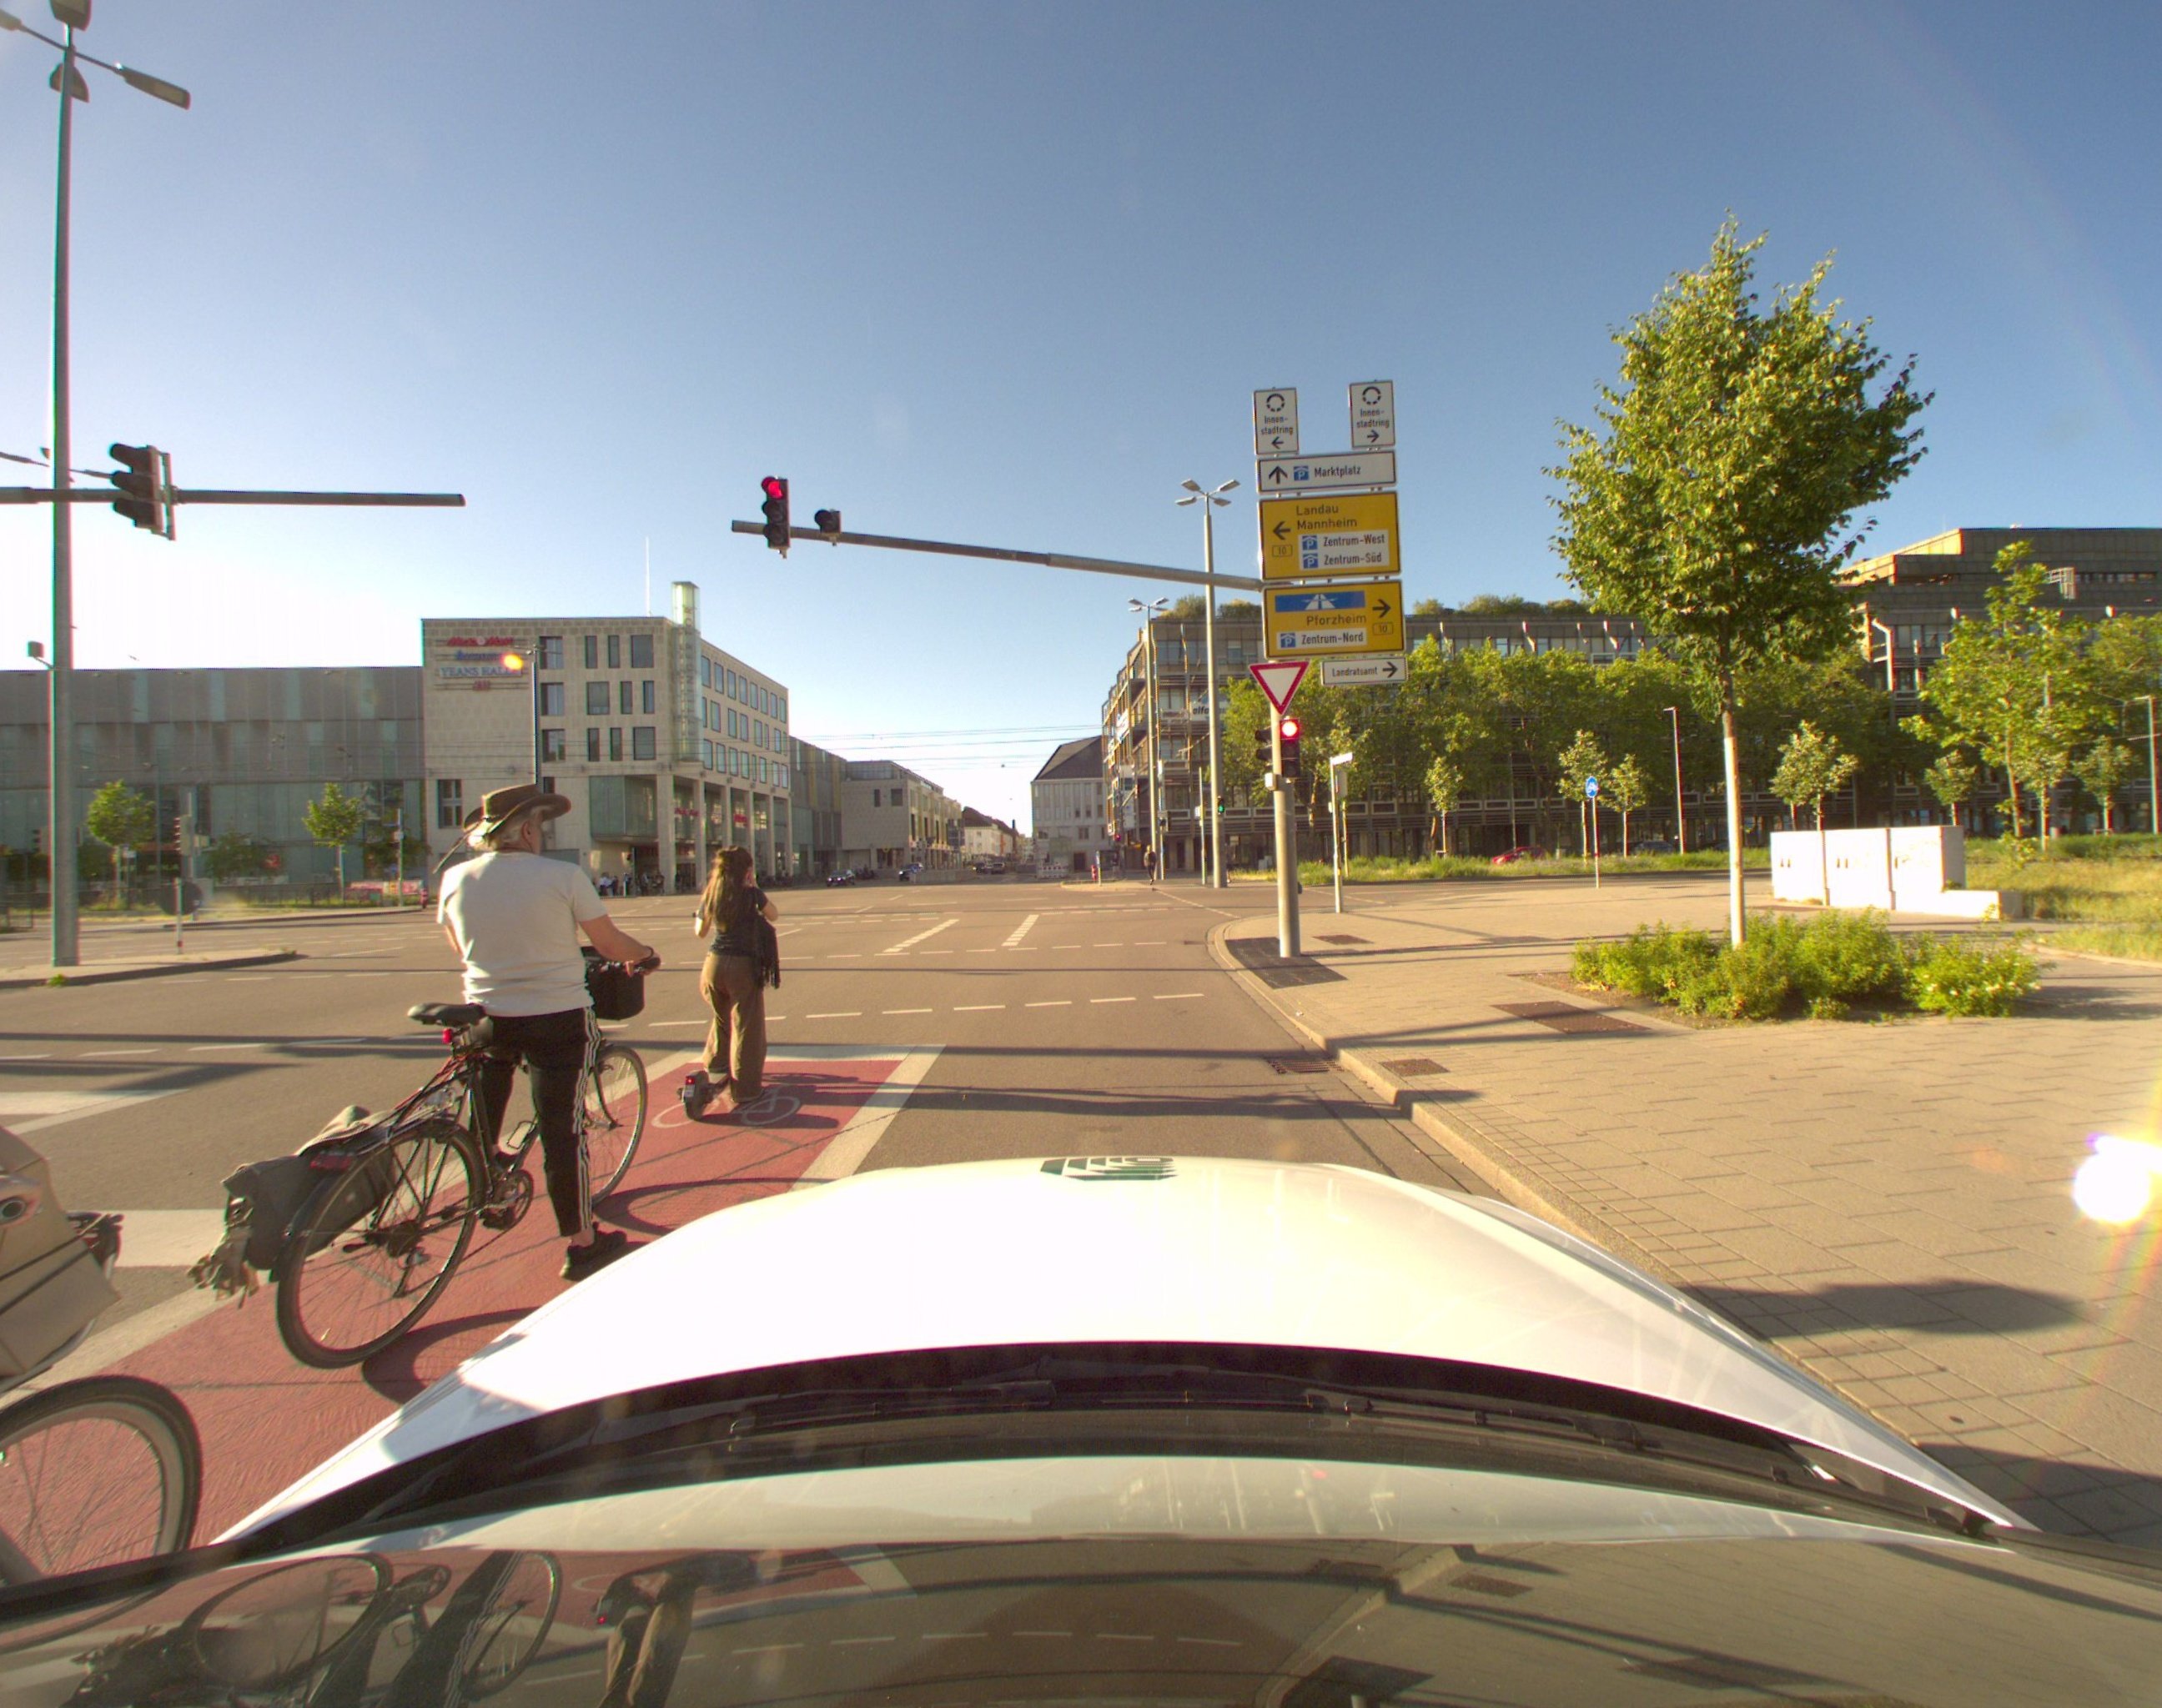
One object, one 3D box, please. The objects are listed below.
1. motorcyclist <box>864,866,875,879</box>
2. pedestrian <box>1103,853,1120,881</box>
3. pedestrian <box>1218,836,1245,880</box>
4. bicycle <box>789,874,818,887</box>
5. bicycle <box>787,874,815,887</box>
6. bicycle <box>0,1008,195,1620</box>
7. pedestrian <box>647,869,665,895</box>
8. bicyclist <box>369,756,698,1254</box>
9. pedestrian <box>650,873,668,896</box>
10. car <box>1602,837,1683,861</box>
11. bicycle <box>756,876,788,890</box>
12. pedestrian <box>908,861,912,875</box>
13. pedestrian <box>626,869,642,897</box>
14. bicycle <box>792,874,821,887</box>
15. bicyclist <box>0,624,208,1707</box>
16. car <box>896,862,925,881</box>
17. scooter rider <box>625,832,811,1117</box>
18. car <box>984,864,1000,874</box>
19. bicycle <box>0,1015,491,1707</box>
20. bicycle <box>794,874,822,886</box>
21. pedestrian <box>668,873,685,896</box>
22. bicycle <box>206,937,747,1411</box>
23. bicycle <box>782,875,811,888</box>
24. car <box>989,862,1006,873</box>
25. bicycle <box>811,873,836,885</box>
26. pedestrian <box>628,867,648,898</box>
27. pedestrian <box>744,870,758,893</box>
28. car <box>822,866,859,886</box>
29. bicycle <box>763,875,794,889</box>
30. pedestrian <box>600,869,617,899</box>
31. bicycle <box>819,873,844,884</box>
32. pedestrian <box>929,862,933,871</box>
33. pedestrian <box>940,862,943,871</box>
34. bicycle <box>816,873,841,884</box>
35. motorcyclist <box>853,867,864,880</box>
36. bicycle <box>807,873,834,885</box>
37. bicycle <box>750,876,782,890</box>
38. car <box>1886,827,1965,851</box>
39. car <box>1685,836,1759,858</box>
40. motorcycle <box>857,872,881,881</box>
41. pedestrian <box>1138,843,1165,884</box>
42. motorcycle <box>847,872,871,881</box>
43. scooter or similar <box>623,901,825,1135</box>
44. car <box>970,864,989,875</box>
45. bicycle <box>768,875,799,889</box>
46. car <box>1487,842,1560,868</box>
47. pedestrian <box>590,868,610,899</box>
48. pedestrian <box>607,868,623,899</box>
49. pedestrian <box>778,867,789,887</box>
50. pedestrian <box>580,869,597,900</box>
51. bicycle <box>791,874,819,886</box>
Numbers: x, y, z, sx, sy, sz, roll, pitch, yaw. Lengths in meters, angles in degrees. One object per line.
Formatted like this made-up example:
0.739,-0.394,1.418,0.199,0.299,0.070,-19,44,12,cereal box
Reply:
-25.610,2.261,98.614,1.135,1.575,0.914,0,-1,-5,motorcyclist
2.180,0.893,57.468,1.005,1.911,1.054,-2,0,10,pedestrian
6.055,0.162,32.877,0.854,1.744,0.737,-2,0,-7,pedestrian
-26.662,2.538,78.240,2.458,1.111,0.684,-2,0,2,bicycle
-26.622,2.539,77.463,2.458,1.111,0.684,-2,0,2,bicycle
-2.424,0.929,1.009,0.621,1.116,1.816,-2,0,1,bicycle
-33.378,2.174,63.923,0.914,2.014,1.020,-2,-1,-10,pedestrian
-2.052,0.513,3.171,0.697,1.669,0.786,-2,0,0,bicyclist
-30.858,2.200,59.488,1.012,1.651,0.938,-1,-1,-36,pedestrian
41.772,-0.384,60.616,4.848,1.680,1.995,-2,1,-7,car
-26.821,2.501,70.713,2.458,1.111,0.684,-2,0,2,bicycle
-24.581,2.011,117.132,0.616,2.014,0.476,0,-1,-13,pedestrian
-32.579,2.129,59.365,0.920,2.014,1.013,-1,-1,-33,pedestrian
-26.660,2.544,79.092,2.458,1.111,0.835,-2,0,2,bicycle
-1.695,0.486,0.830,0.648,1.543,0.847,-2,0,1,bicyclist
-15.993,1.626,76.647,1.933,1.677,4.290,-2,-1,-3,car
-2.168,0.656,5.006,0.640,1.544,1.116,-1,0,-1,scooter rider
-16.788,2.837,153.906,2.165,1.692,5.618,-2,-1,2,car
-1.684,0.921,0.936,0.648,1.094,1.800,-2,0,1,bicycle
-27.200,2.573,81.284,2.458,1.111,0.835,-2,0,2,bicycle
-29.144,2.206,58.665,0.950,1.571,0.832,-1,-1,-35,pedestrian
-2.032,0.970,3.141,0.704,1.094,1.800,-2,0,0,bicycle
-26.652,2.528,76.237,2.458,1.111,0.594,-2,0,2,bicycle
-11.180,1.775,108.786,1.931,1.450,4.259,-2,-1,-2,car
-27.027,2.601,85.478,2.458,1.111,0.661,-2,0,2,bicycle
-31.576,2.009,58.050,1.068,2.129,1.085,-1,-1,-39,pedestrian
-25.446,2.084,62.742,0.748,1.740,0.756,-2,-1,-1,pedestrian
-20.827,1.891,70.698,1.931,1.581,4.293,-2,0,0,car
-26.736,2.494,72.077,2.457,1.111,0.685,-2,0,4,bicycle
-34.174,2.169,58.864,0.899,2.124,0.940,-1,-1,-23,pedestrian
-26.963,2.624,88.091,2.458,1.111,0.661,-2,0,2,bicycle
-23.384,1.999,126.818,0.487,1.356,0.563,0,-1,-4,pedestrian
-22.540,2.033,131.638,0.487,1.356,0.563,0,-1,-4,pedestrian
-26.972,2.626,86.916,2.458,1.111,0.631,-2,0,2,bicycle
-26.008,2.264,95.136,1.035,1.471,0.914,0,-1,-5,motorcyclist
-27.084,2.606,84.651,2.458,1.111,0.835,-2,0,2,bicycle
-26.839,2.487,69.367,2.394,1.113,0.658,-2,0,1,bicycle
64.806,-1.143,62.535,4.255,1.596,1.864,-2,-1,-4,car
47.920,-0.510,60.962,3.976,1.521,1.999,-2,0,-2,car
-25.631,2.688,98.594,2.664,0.996,0.914,0,-1,-6,motorcycle
2.803,0.372,32.317,0.894,1.549,0.922,-2,1,-5,pedestrian
-25.924,2.661,95.150,2.664,0.996,0.914,0,-1,-6,motorcycle
-2.180,0.936,5.182,0.640,1.175,1.483,-1,0,-1,scooter or similar
-16.073,2.435,129.615,2.166,1.692,5.488,-2,-1,1,car
-26.616,2.484,72.884,2.458,1.111,0.684,-2,0,2,bicycle
29.818,0.099,54.945,3.858,1.486,1.844,-2,-3,-3,car
-33.949,2.060,57.509,0.895,2.124,0.944,-2,-1,-10,pedestrian
-32.601,2.025,56.947,0.902,2.124,0.937,-1,-1,-34,pedestrian
-30.195,2.332,82.718,0.949,1.982,1.000,-1,-1,-23,pedestrian
-35.249,2.171,58.280,0.900,2.124,0.939,-1,-1,-25,pedestrian
-27.145,2.562,80.030,2.458,1.111,0.684,-2,0,2,bicycle
